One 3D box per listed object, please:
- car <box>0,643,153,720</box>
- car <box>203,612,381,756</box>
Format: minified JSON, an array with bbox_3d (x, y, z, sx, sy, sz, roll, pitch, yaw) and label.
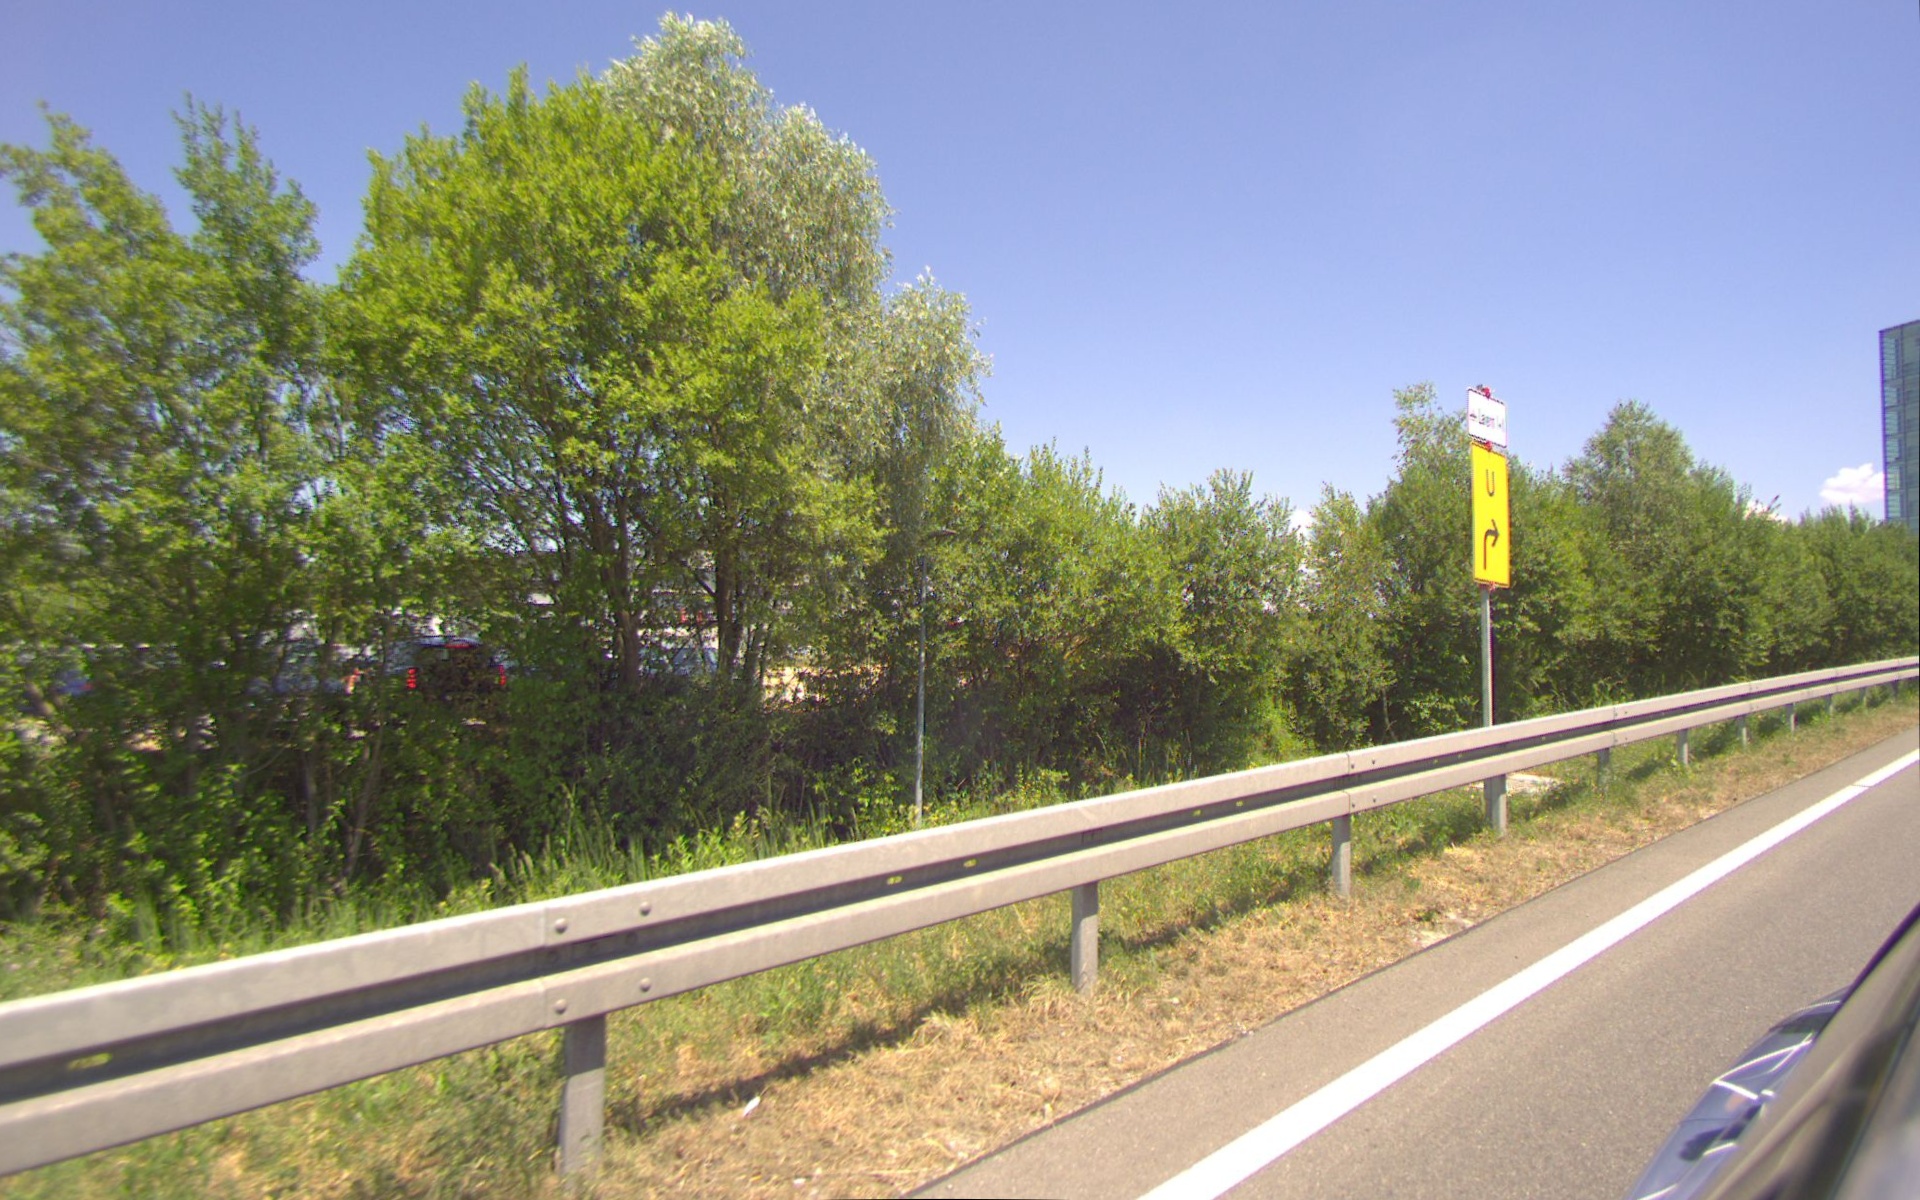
[{"bbox_3d":[-22.489,1.923,24.214,4.474,1.758,2.003,1,-3,-12],"label":"car"},{"bbox_3d":[-11.025,1.287,16.548,1.963,1.994,4.688,3,-4,-38],"label":"car"}]
